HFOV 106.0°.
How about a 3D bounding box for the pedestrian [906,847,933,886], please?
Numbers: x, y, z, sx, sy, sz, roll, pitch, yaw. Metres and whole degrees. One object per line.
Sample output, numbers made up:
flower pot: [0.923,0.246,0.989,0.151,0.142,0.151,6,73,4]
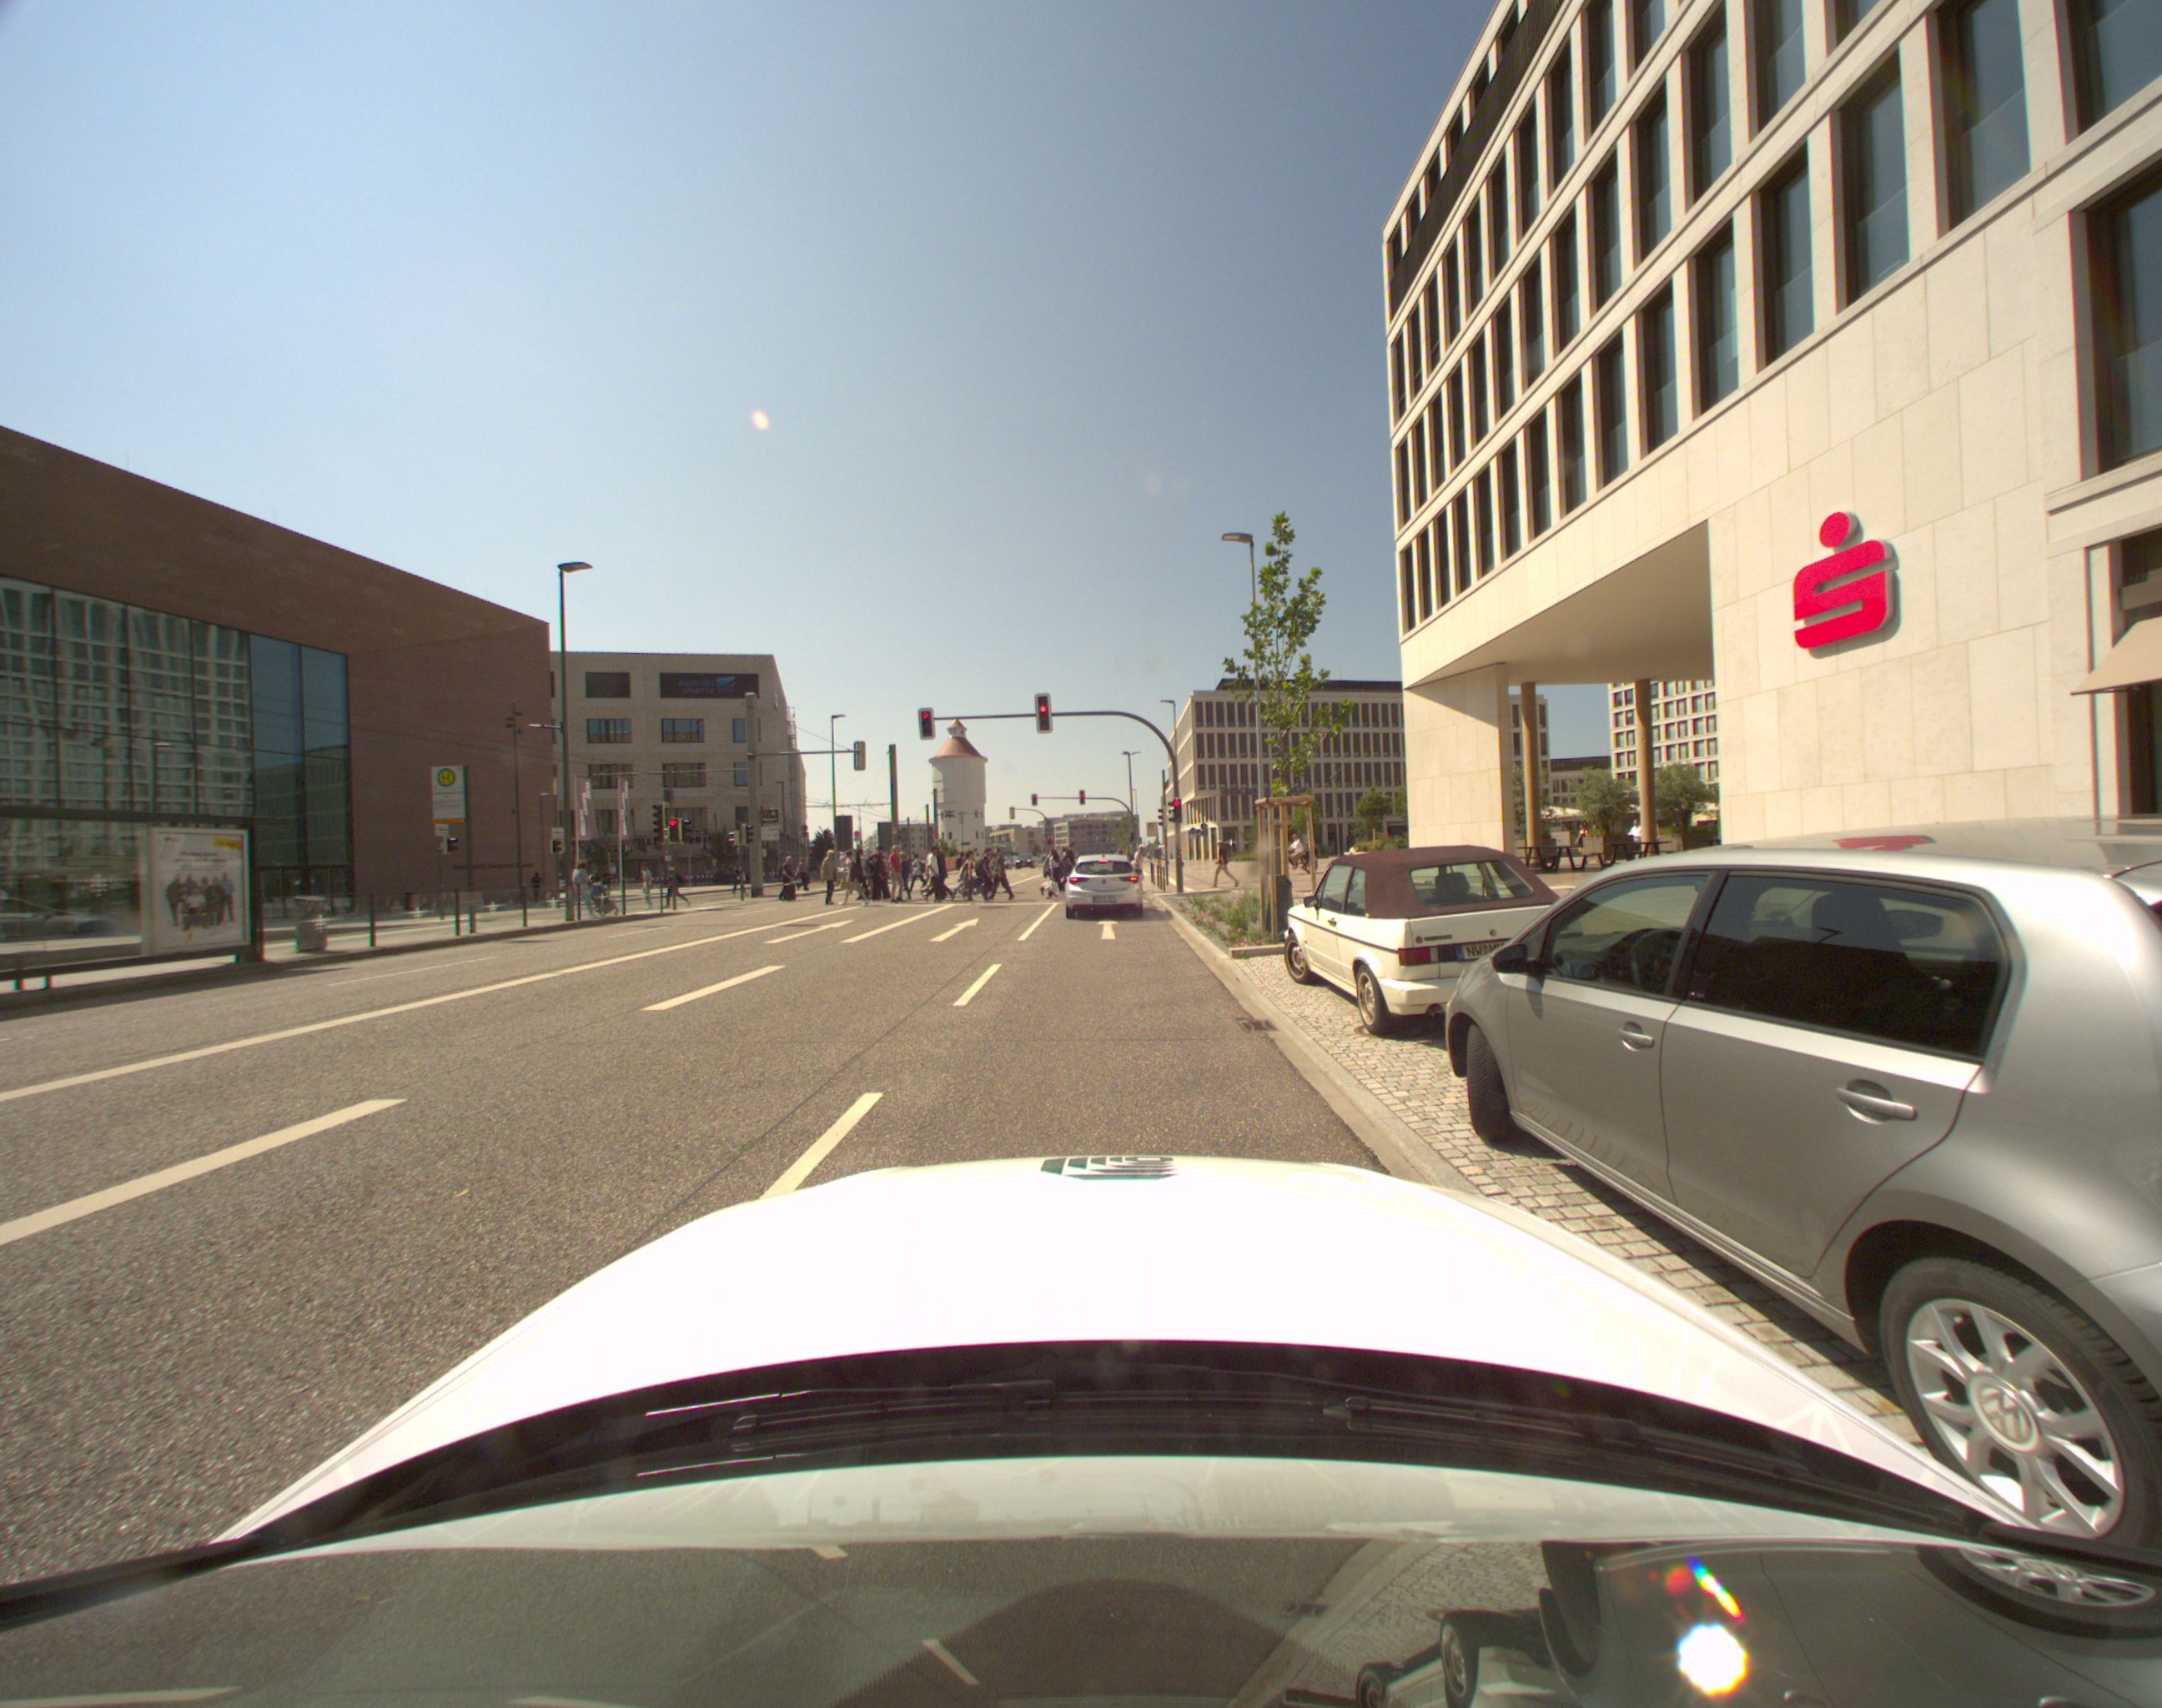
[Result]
pedestrian: [-7.084,0.539,35.766,0.883,1.647,0.798,-2,0,6]

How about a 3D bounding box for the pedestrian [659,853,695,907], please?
pedestrian: [-15.581,0.975,31.406,1.022,2.013,0.949,-2,0,-17]

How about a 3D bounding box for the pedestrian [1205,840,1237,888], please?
pedestrian: [4.939,0.340,28.840,0.986,1.655,0.692,-2,0,3]

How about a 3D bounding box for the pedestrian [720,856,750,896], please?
pedestrian: [-17.109,1.069,40.273,0.880,1.890,0.989,-2,0,22]

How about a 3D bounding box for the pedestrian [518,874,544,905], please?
pedestrian: [-29.695,1.909,43.952,0.708,1.571,0.891,-2,0,1]

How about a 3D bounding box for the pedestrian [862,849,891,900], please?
pedestrian: [-6.642,0.668,26.498,0.630,1.618,0.770,-2,0,7]

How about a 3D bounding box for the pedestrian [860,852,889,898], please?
pedestrian: [-7.273,0.744,28.719,0.724,1.576,0.642,-2,0,6]

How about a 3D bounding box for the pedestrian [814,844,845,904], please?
pedestrian: [-8.089,0.637,26.180,0.634,1.890,0.797,-2,0,3]

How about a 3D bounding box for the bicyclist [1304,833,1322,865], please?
bicyclist: [10.142,-0.202,35.654,0.358,1.360,0.899,-2,0,-9]

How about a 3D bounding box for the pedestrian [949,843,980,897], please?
pedestrian: [-4.211,0.571,29.467,0.884,1.890,0.797,-2,0,2]

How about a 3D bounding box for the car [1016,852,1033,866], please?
car: [-6.429,0.601,93.125,1.581,1.530,3.693,-1,-1,1]

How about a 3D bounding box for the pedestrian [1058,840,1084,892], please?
pedestrian: [-0.373,0.432,30.076,0.837,1.890,0.692,-2,0,2]

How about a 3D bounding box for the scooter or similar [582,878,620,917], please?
scooter or similar: [-13.664,1.232,23.198,0.502,1.059,0.834,-2,0,2]

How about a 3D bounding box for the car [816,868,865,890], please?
car: [-21.317,2.168,72.257,3.942,1.816,1.792,-1,-1,-10]

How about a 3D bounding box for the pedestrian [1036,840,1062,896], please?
pedestrian: [-1.101,0.479,28.108,0.763,1.890,0.692,-2,0,3]

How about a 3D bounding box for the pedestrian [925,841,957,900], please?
pedestrian: [-4.594,0.541,26.784,0.886,1.890,0.795,-2,0,-3]

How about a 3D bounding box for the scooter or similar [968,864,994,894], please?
scooter or similar: [-3.845,0.951,31.414,0.950,1.118,0.765,-2,0,-8]

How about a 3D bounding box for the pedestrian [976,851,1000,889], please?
pedestrian: [-4.180,0.698,36.640,0.883,1.647,0.798,-2,0,6]

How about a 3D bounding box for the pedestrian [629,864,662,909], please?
pedestrian: [-16.691,1.226,31.241,0.895,1.674,1.007,-2,0,-17]

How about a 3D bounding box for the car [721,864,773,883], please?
car: [-29.774,1.687,72.627,3.883,1.486,1.680,-2,0,-8]

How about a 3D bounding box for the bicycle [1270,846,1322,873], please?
bicycle: [9.377,0.232,35.510,1.961,1.083,0.902,-2,0,-10]

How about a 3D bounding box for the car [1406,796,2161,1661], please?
car: [2.649,0.607,2.959,1.550,1.472,3.471,-4,0,2]

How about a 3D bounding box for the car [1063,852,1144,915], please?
car: [0.618,0.686,19.793,1.764,1.395,3.535,-1,-1,4]

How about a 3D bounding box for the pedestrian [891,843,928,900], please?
pedestrian: [-5.888,0.589,27.975,0.879,1.890,0.801,-2,0,38]

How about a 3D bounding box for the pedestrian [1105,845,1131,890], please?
pedestrian: [1.393,0.505,30.516,0.883,1.647,0.798,-2,0,6]

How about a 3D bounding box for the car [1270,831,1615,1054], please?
car: [2.940,0.600,7.588,1.424,1.390,4.002,-6,0,2]

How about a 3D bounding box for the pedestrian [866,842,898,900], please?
pedestrian: [-6.686,0.561,27.351,0.726,1.890,0.822,-2,0,8]

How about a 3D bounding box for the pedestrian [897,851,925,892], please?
pedestrian: [-7.124,0.731,34.139,0.883,1.647,0.798,-2,0,6]

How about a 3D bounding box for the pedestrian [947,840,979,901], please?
pedestrian: [-3.762,0.509,26.072,0.886,1.890,0.795,-2,0,-3]

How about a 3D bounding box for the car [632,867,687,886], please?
car: [-37.201,1.946,71.998,3.883,1.486,1.680,-2,0,-8]

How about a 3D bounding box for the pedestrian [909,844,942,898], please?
pedestrian: [-5.554,0.597,29.103,0.883,1.890,0.798,-2,0,6]

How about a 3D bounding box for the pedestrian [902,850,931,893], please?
pedestrian: [-6.527,0.691,32.332,0.883,1.647,0.798,-2,0,6]

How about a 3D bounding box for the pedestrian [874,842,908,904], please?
pedestrian: [-5.990,0.586,25.695,0.886,1.890,0.691,-2,0,-3]

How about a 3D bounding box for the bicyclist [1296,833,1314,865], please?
bicyclist: [9.783,-0.197,35.588,0.358,1.360,0.911,-2,0,-9]

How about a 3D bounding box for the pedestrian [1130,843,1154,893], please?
pedestrian: [2.148,0.494,28.810,0.763,1.734,0.692,-2,0,3]

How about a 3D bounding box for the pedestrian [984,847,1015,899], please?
pedestrian: [-2.645,0.597,26.491,0.886,1.635,0.691,-2,0,-3]

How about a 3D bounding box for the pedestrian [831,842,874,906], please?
pedestrian: [-6.915,0.592,24.674,1.010,1.890,0.798,-2,0,-1]

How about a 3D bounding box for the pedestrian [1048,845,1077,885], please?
pedestrian: [-0.886,0.505,38.901,1.175,1.820,1.070,-2,0,6]

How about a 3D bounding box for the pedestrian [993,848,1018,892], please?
pedestrian: [-2.925,0.594,31.539,0.887,1.647,0.794,-2,0,-8]

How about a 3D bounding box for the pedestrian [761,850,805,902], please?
pedestrian: [-11.368,0.822,31.091,1.164,1.890,1.061,-2,2,3]

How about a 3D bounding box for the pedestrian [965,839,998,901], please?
pedestrian: [-3.096,0.488,25.389,0.886,1.890,0.691,-2,0,-3]

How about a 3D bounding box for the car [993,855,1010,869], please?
car: [-9.287,0.911,95.388,1.581,1.530,3.258,-1,-1,1]

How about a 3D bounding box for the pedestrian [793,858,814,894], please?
pedestrian: [-13.451,1.071,39.490,0.663,1.681,0.700,-2,0,43]

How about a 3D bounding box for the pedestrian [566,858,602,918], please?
pedestrian: [-13.685,0.929,22.438,0.502,1.622,0.650,-2,0,2]

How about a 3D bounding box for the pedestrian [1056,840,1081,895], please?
pedestrian: [-0.443,0.479,29.020,0.763,1.890,0.692,-2,0,3]

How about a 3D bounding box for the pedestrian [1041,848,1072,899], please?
pedestrian: [-0.803,0.622,26.732,0.760,1.620,0.695,-2,0,18]

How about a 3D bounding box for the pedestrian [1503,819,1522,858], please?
pedestrian: [22.786,-0.804,42.985,0.641,2.013,0.622,-2,0,1]

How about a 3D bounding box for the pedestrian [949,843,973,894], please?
pedestrian: [-4.470,0.539,30.383,0.730,1.890,0.715,0,0,6]

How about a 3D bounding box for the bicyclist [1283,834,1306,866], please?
bicyclist: [9.292,-0.186,35.497,0.616,1.360,0.898,-2,0,-9]

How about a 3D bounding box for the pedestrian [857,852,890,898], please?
pedestrian: [-7.686,0.759,30.198,0.906,1.637,0.815,-2,0,6]

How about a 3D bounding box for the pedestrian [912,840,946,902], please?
pedestrian: [-4.797,0.532,25.740,0.886,1.890,0.691,-2,0,-3]
